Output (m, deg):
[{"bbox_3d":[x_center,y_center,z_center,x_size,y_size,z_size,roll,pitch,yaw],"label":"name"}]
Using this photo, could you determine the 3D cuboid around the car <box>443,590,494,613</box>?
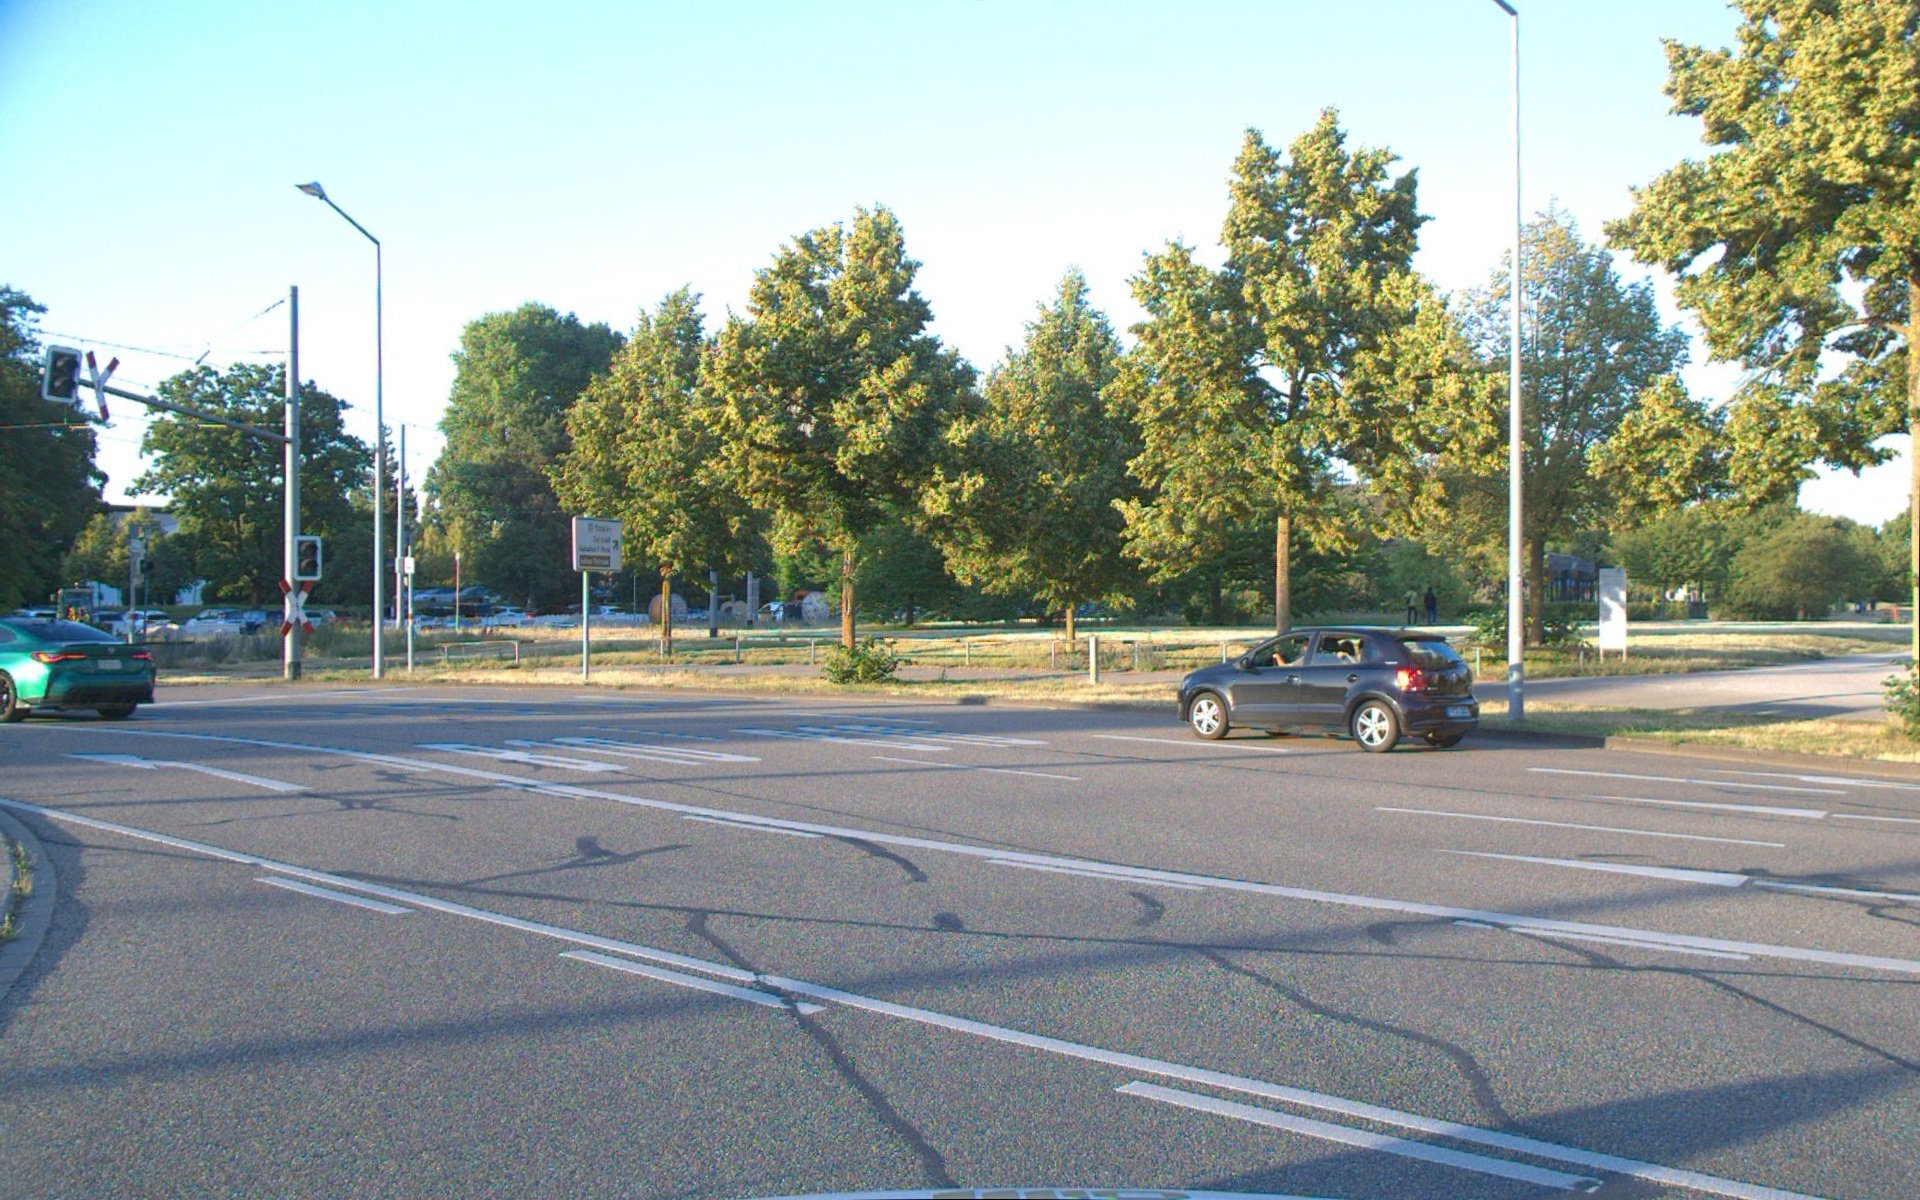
[{"bbox_3d":[-44.069,0.113,148.230,1.963,2.049,3.979,0,0,40],"label":"car"}]

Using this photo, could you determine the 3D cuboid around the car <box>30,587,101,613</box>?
[{"bbox_3d":[-70.514,-0.023,130.460,1.956,2.049,4.590,0,0,29],"label":"car"}]

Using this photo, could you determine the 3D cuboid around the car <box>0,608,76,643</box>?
[{"bbox_3d":[-45.608,1.239,81.428,3.915,1.632,1.995,0,0,32],"label":"car"}]

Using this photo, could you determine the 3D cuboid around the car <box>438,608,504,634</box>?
[{"bbox_3d":[-30.958,1.324,104.679,3.915,1.632,1.995,0,0,32],"label":"car"}]

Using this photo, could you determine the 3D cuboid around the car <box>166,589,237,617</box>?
[{"bbox_3d":[-56.628,0.240,123.485,1.956,2.049,4.590,0,0,29],"label":"car"}]

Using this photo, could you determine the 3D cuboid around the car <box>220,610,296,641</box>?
[{"bbox_3d":[-39.071,1.396,92.038,3.915,1.632,1.995,0,0,32],"label":"car"}]

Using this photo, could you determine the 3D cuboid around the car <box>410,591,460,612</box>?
[{"bbox_3d":[-47.931,0.116,151.058,1.959,1.847,3.987,0,0,34],"label":"car"}]

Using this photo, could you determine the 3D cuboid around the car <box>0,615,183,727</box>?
[{"bbox_3d":[-13.288,0.933,23.256,4.630,1.395,1.997,0,0,30],"label":"car"}]

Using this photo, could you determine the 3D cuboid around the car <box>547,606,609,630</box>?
[{"bbox_3d":[-26.251,1.238,113.668,3.915,1.632,1.995,0,0,32],"label":"car"}]

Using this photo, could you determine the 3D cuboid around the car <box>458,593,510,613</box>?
[{"bbox_3d":[-41.669,0.299,144.718,3.902,1.736,2.001,0,0,6],"label":"car"}]

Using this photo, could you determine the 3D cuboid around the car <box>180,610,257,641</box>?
[{"bbox_3d":[-40.513,1.364,90.370,3.915,1.632,1.995,0,0,32],"label":"car"}]

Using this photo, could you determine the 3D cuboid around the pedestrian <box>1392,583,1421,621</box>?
[{"bbox_3d":[19.556,0.102,72.476,1.047,1.646,0.911,0,0,2],"label":"pedestrian"}]

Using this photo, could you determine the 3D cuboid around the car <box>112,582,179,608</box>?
[{"bbox_3d":[-67.098,-0.411,136.334,1.958,2.049,4.585,0,0,33],"label":"car"}]

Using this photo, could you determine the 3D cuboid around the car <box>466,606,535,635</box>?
[{"bbox_3d":[-32.506,1.442,117.149,4.499,2.049,1.996,0,0,-9],"label":"car"}]

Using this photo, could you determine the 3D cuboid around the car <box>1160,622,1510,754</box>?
[{"bbox_3d":[4.514,1.000,20.272,1.682,1.378,3.934,-1,0,-44],"label":"car"}]

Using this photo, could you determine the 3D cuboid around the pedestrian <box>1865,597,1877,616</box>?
[{"bbox_3d":[84.280,0.583,152.996,0.835,1.690,0.978,0,0,25],"label":"pedestrian"}]

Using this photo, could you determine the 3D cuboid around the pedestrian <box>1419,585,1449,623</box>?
[{"bbox_3d":[20.663,0.154,72.072,1.047,1.646,0.911,0,0,2],"label":"pedestrian"}]

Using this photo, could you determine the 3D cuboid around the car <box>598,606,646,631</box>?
[{"bbox_3d":[-26.345,1.395,128.873,1.979,1.782,4.538,0,1,-37],"label":"car"}]

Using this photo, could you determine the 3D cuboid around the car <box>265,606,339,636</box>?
[{"bbox_3d":[-37.371,1.168,93.864,3.915,1.632,1.995,0,0,32],"label":"car"}]

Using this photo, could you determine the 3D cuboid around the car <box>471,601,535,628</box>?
[{"bbox_3d":[-34.574,1.086,125.256,4.499,2.049,1.996,0,0,-9],"label":"car"}]

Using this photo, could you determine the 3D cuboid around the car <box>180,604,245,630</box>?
[{"bbox_3d":[-50.542,1.110,111.865,3.939,1.691,1.983,0,0,-27],"label":"car"}]

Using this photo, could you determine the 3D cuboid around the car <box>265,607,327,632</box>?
[{"bbox_3d":[-45.798,1.321,114.106,3.933,1.691,1.889,0,0,-23],"label":"car"}]

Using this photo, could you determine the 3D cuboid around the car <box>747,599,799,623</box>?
[{"bbox_3d":[-12.984,0.762,114.665,1.724,1.646,3.940,0,0,-41],"label":"car"}]

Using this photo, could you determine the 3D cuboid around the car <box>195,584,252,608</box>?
[{"bbox_3d":[-63.355,-0.323,142.356,1.958,2.049,4.105,0,0,33],"label":"car"}]

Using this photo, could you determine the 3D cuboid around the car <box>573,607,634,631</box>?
[{"bbox_3d":[-24.882,1.324,115.417,3.915,1.632,1.995,0,0,32],"label":"car"}]

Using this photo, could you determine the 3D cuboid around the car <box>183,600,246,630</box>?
[{"bbox_3d":[-52.073,1.043,115.558,3.939,2.049,1.983,0,0,-27],"label":"car"}]

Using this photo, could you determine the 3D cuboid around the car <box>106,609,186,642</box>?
[{"bbox_3d":[-42.238,1.315,85.781,3.915,1.632,1.995,0,0,32],"label":"car"}]

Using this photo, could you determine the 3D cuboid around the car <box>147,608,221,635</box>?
[{"bbox_3d":[-50.212,1.371,107.078,1.863,1.691,3.987,0,0,34],"label":"car"}]

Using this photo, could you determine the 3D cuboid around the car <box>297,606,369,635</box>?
[{"bbox_3d":[-36.426,1.194,96.082,3.915,1.632,1.995,0,0,32],"label":"car"}]
